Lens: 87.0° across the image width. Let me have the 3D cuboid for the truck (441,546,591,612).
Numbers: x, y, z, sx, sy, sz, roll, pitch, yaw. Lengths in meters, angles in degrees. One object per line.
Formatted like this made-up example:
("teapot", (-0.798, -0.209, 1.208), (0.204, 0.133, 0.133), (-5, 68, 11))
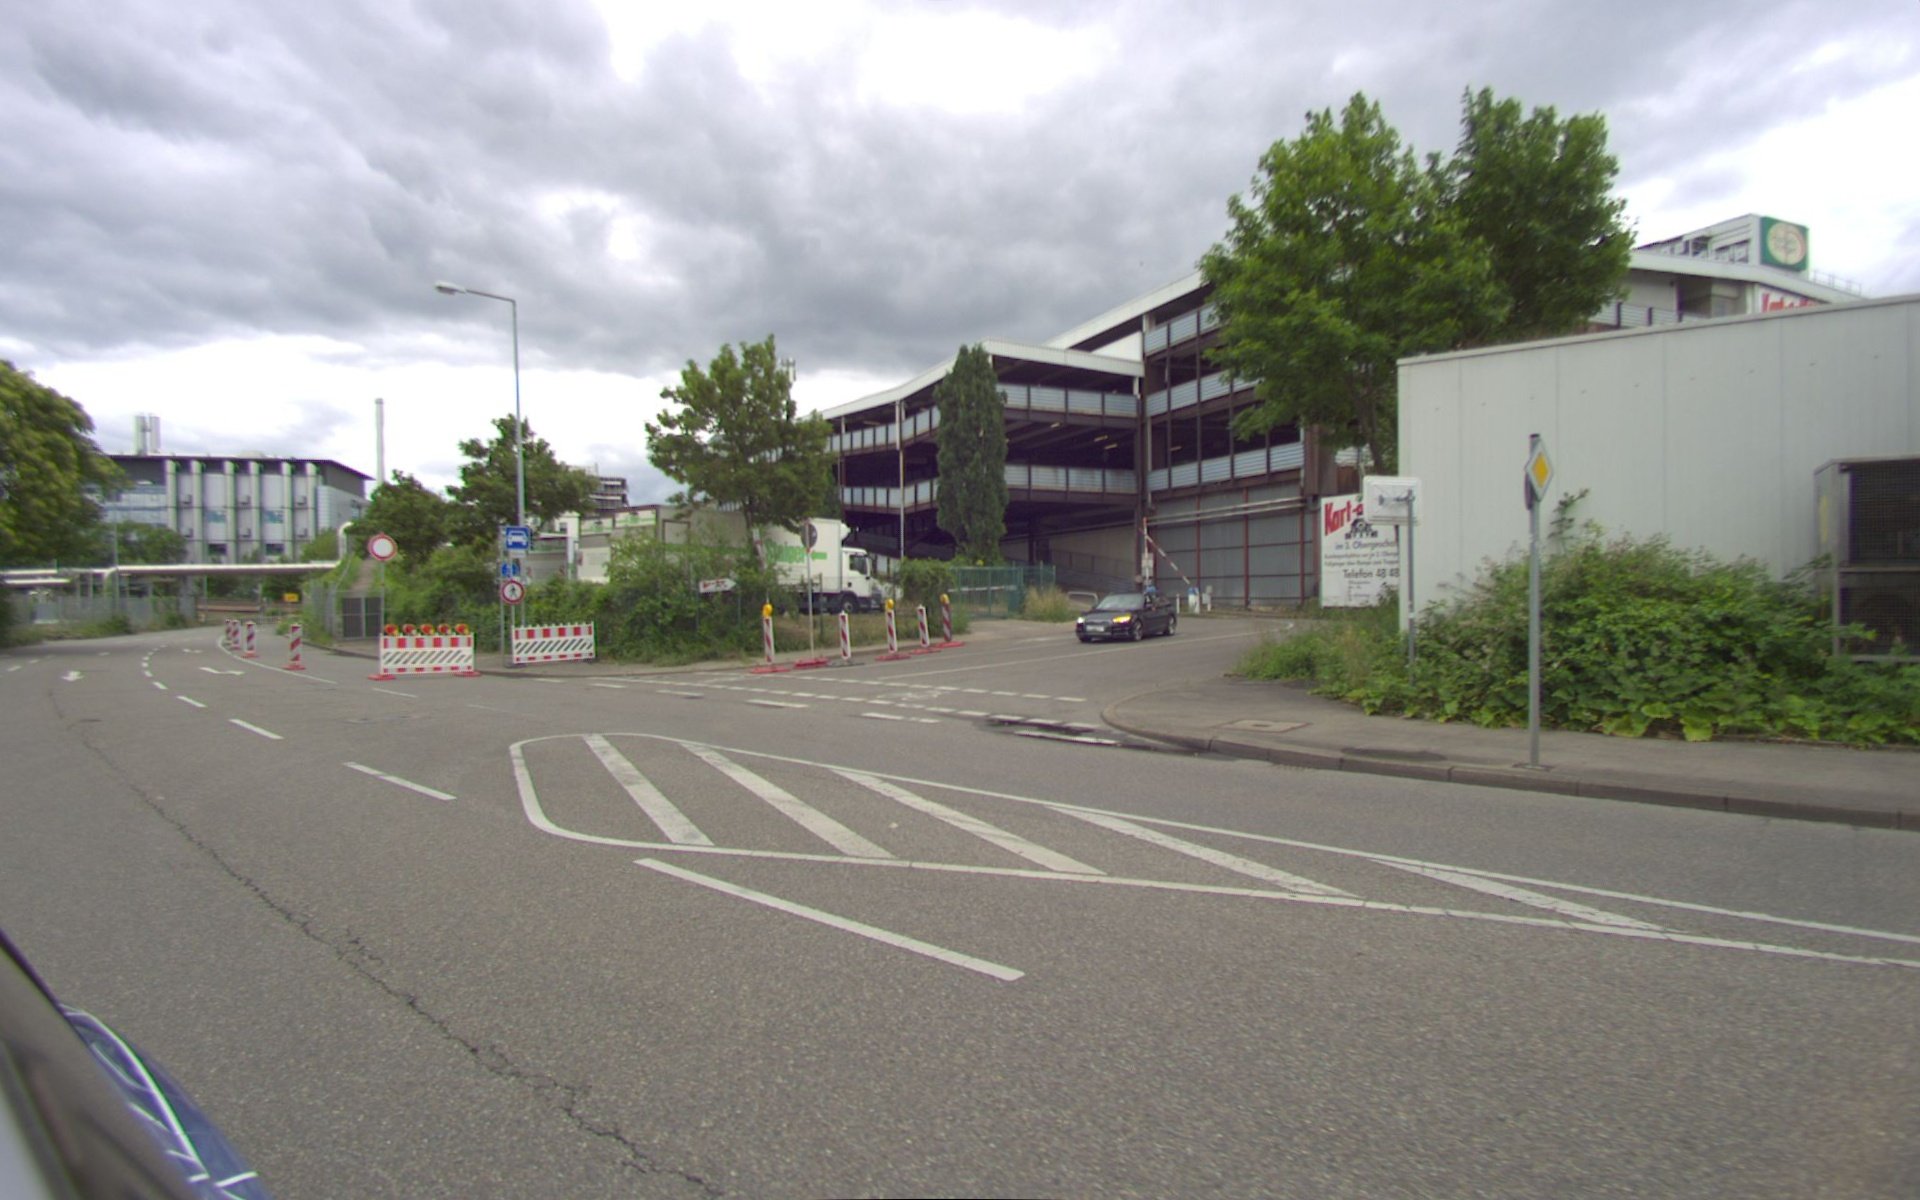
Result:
("truck", (-25.621, -1.240, 58.952), (3.034, 3.564, 8.089), (0, 1, 24))

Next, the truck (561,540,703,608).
("truck", (-12.407, -0.982, 38.404), (4.632, 2.423, 2.198), (-1, 1, -43))

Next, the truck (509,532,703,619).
("truck", (-14.528, -1.006, 42.311), (3.036, 3.274, 7.797), (0, 1, 26))

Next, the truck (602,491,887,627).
("truck", (-6.999, -1.318, 34.543), (3.052, 4.021, 9.518), (0, 1, 42))

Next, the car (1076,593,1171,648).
("car", (4.973, 0.566, 30.317), (1.791, 1.419, 4.353), (-1, 1, 24))

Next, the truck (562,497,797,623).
("truck", (-9.829, -1.355, 36.266), (3.050, 4.021, 7.761), (0, 1, 40))

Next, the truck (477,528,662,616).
("truck", (-17.218, -1.224, 45.307), (3.036, 3.564, 7.797), (0, 1, 26))

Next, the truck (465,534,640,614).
("truck", (-19.661, -1.266, 49.409), (3.040, 3.564, 7.789), (1, 1, 29))
